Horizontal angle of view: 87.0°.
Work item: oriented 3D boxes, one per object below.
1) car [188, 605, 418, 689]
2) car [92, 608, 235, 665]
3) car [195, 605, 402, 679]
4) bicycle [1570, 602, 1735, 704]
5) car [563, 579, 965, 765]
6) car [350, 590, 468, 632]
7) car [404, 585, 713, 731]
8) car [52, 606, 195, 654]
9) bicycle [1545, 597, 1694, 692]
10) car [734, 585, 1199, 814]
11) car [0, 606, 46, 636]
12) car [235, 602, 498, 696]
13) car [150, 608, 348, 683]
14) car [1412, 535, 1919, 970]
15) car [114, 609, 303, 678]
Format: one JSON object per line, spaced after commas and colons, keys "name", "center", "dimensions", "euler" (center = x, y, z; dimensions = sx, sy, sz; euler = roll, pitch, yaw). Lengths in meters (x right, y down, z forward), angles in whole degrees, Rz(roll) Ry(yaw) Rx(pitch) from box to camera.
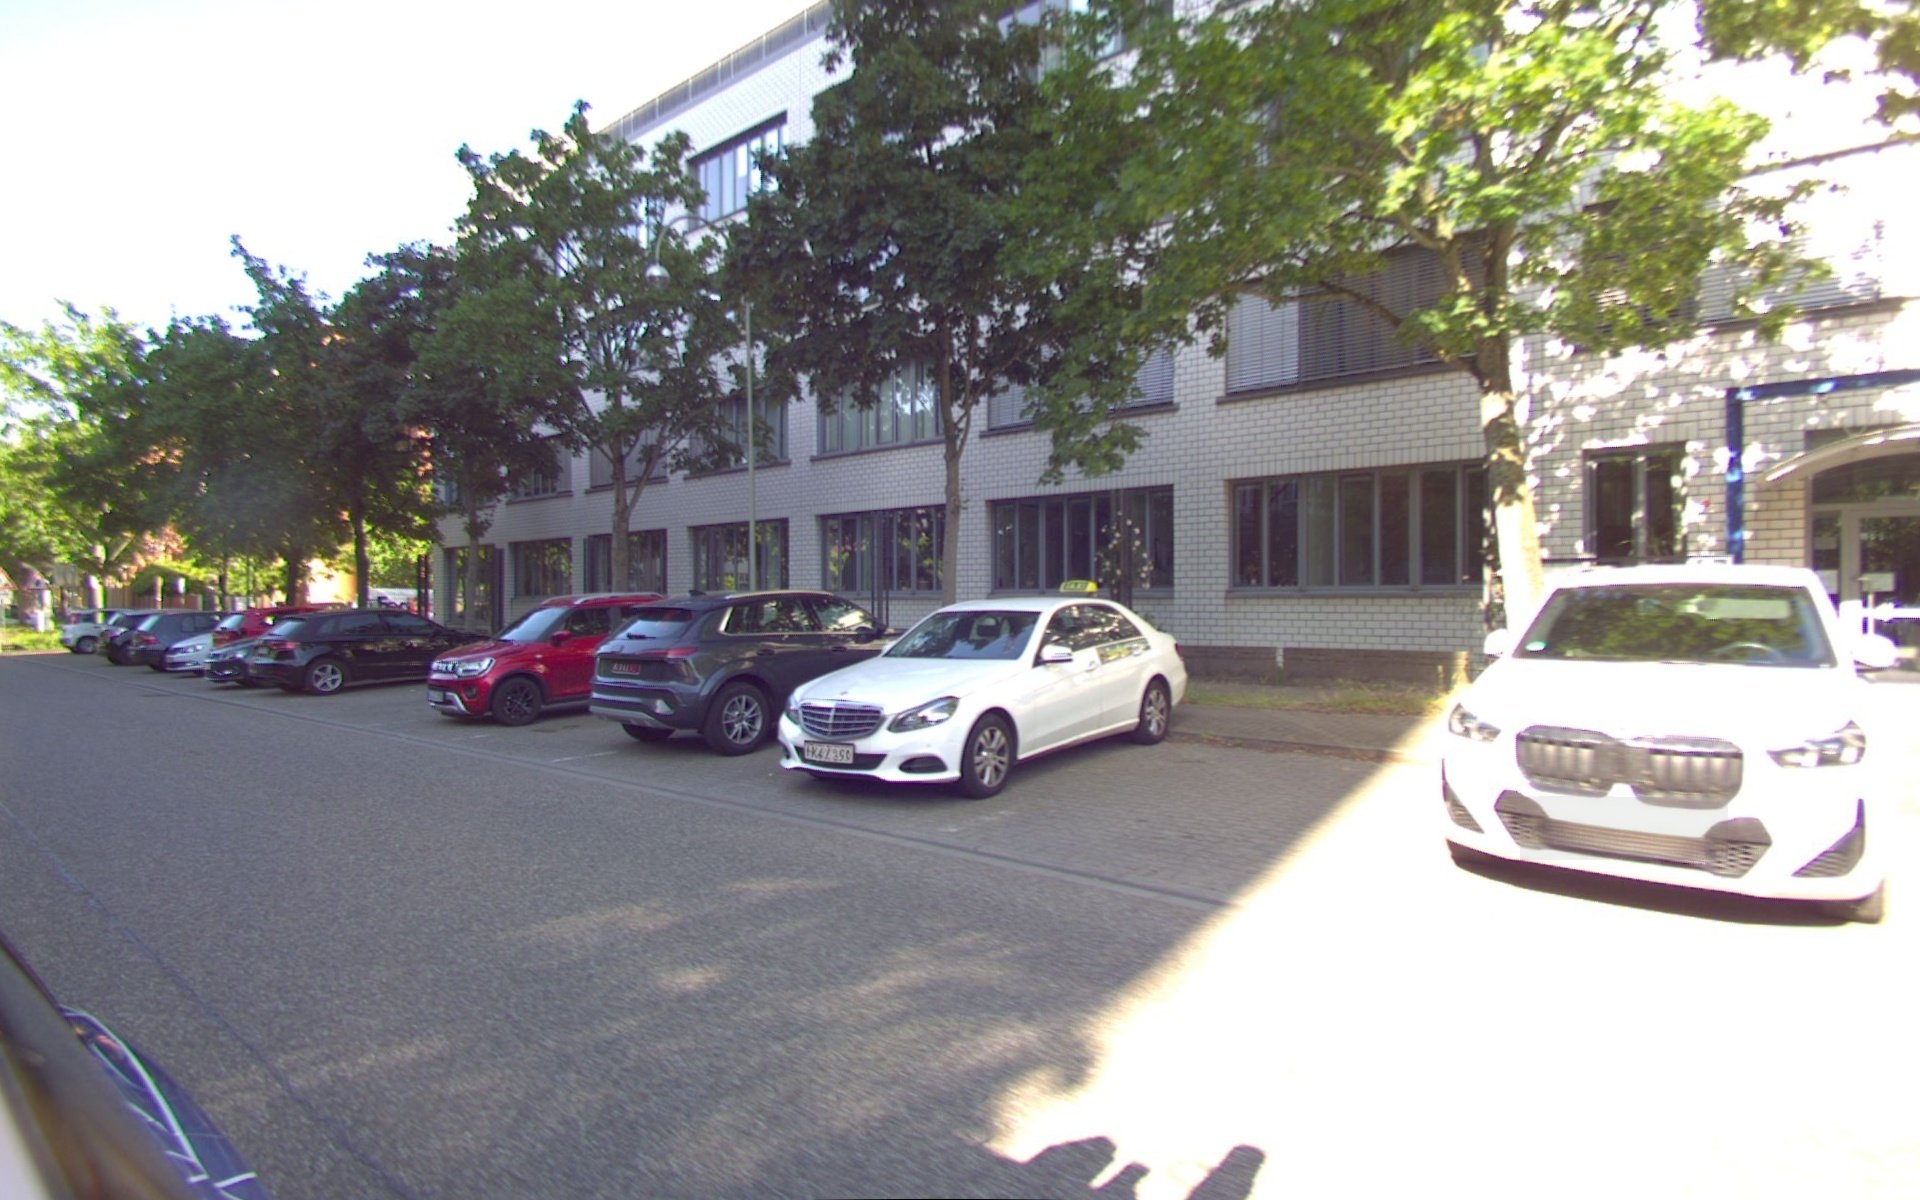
{"name": "car", "center": [-12.927, 0.857, 20.051], "dimensions": [1.656, 1.447, 3.495], "euler": [0, 0, 39]}
{"name": "car", "center": [-22.051, 0.968, 28.071], "dimensions": [1.388, 1.454, 2.896], "euler": [0, 0, 40]}
{"name": "car", "center": [-14.585, 0.857, 22.455], "dimensions": [1.655, 1.456, 3.497], "euler": [0, 0, 37]}
{"name": "bicycle", "center": [8.444, 0.615, 12.387], "dimensions": [1.627, 1.184, 0.334], "euler": [0, 0, 41]}
{"name": "car", "center": [-1.972, 0.620, 11.115], "dimensions": [1.803, 1.632, 4.069], "euler": [-1, 1, 42]}
{"name": "car", "center": [-29.576, 0.529, 54.474], "dimensions": [1.930, 2.114, 5.264], "euler": [0, 0, 38]}
{"name": "car", "center": [-5.367, 0.675, 13.802], "dimensions": [1.654, 1.681, 3.534], "euler": [-1, 1, 43]}
{"name": "car", "center": [-28.980, 1.010, 35.149], "dimensions": [1.616, 1.519, 3.586], "euler": [0, 0, 39]}
{"name": "bicycle", "center": [8.695, 0.564, 13.387], "dimensions": [1.627, 1.184, 0.334], "euler": [0, 0, 41]}
{"name": "car", "center": [0.344, 0.646, 9.092], "dimensions": [1.937, 1.462, 4.468], "euler": [-1, 1, 36]}
{"name": "car", "center": [-55.383, 1.201, 57.307], "dimensions": [1.953, 1.637, 5.184], "euler": [0, 0, 42]}
{"name": "car", "center": [-10.736, 0.833, 18.526], "dimensions": [1.685, 1.424, 3.785], "euler": [-2, 0, 39]}
{"name": "car", "center": [-16.578, 1.001, 23.699], "dimensions": [1.656, 1.541, 3.483], "euler": [0, 0, 39]}
{"name": "car", "center": [4.296, 0.500, 5.874], "dimensions": [1.952, 1.614, 4.182], "euler": [0, 2, 41]}
{"name": "car", "center": [-18.613, 1.025, 25.168], "dimensions": [1.645, 1.517, 3.495], "euler": [0, 0, 39]}
